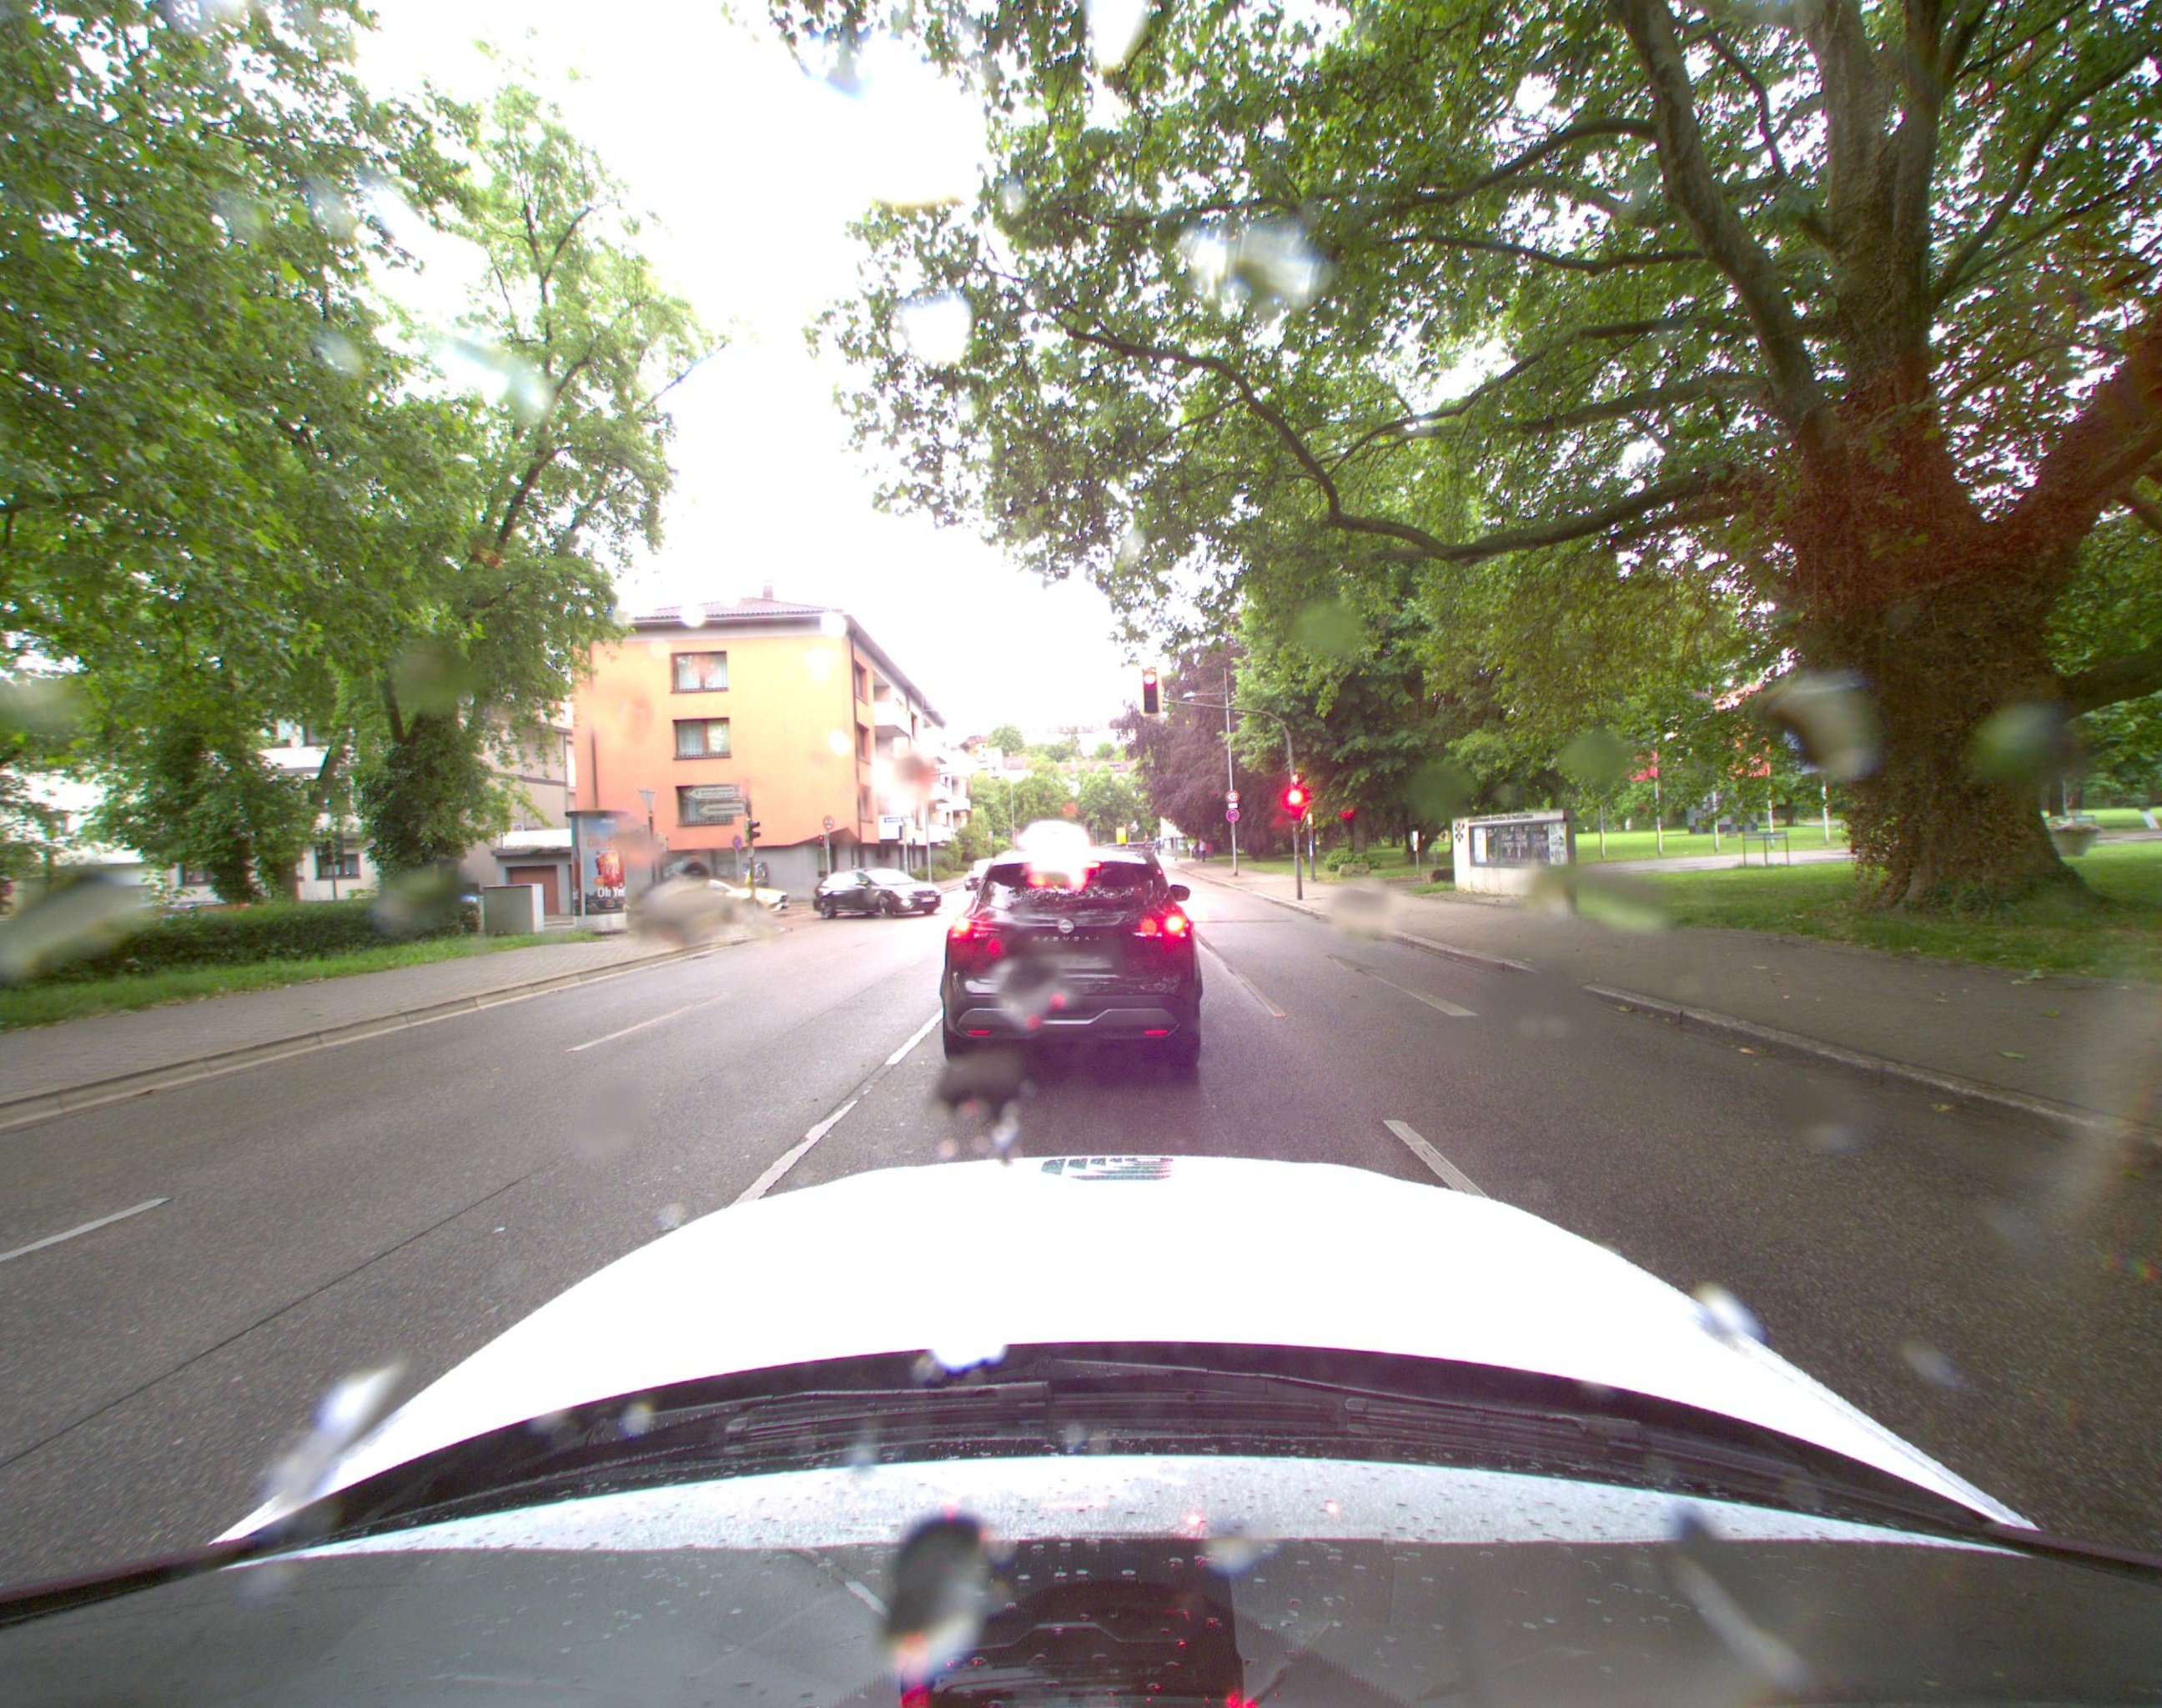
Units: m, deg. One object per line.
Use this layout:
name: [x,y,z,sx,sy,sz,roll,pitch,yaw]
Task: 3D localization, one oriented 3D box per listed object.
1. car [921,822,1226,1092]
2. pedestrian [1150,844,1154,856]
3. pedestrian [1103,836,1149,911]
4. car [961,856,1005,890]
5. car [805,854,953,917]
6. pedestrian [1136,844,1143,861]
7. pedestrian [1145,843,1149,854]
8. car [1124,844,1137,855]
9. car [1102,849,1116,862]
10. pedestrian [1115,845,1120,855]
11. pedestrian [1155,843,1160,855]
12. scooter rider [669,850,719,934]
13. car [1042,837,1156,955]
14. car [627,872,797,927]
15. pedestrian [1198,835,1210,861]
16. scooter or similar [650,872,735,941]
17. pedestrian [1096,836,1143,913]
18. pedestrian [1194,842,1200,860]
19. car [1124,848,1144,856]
car: [0.018,0.648,7.158,1.906,1.680,4.002,-1,0,2]
pedestrian: [10.928,-0.666,124.663,0.506,1.802,0.659,-3,0,1]
pedestrian: [1.170,0.501,21.214,1.035,1.876,0.656,-2,0,-9]
car: [-4.893,0.901,41.194,1.791,1.533,3.865,-3,0,-2]
car: [-5.930,0.934,23.766,4.083,1.625,1.864,-3,0,34]
pedestrian: [6.241,-0.137,87.129,0.509,1.802,0.616,-3,0,-14]
pedestrian: [10.201,-0.843,125.415,0.506,1.802,0.620,-3,0,1]
car: [8.087,-0.755,132.578,1.983,1.735,4.007,0,0,7]
car: [3.378,0.151,98.791,1.628,1.532,3.969,-3,0,2]
pedestrian: [5.995,-0.681,135.294,0.503,1.673,0.663,-3,0,29]
pedestrian: [11.704,-0.726,124.753,0.507,1.802,0.619,-3,0,0]
scooter rider: [-8.398,0.817,17.682,0.726,1.766,0.649,-3,-2,28]
car: [0.344,0.651,14.559,1.692,1.745,3.642,-3,0,2]
car: [-11.979,1.439,26.704,4.630,1.403,1.828,-4,0,-6]
pedestrian: [9.578,-0.482,63.433,0.722,2.013,0.852,-3,0,2]
scooter or similar: [-8.419,1.123,17.688,0.806,1.446,1.407,-1,-3,29]
pedestrian: [0.965,0.499,20.467,1.035,1.876,0.656,-2,0,-9]
pedestrian: [9.656,-0.270,67.895,0.388,1.502,0.559,-3,0,2]
car: [11.496,-0.505,175.982,3.961,1.532,1.632,-3,0,-15]
